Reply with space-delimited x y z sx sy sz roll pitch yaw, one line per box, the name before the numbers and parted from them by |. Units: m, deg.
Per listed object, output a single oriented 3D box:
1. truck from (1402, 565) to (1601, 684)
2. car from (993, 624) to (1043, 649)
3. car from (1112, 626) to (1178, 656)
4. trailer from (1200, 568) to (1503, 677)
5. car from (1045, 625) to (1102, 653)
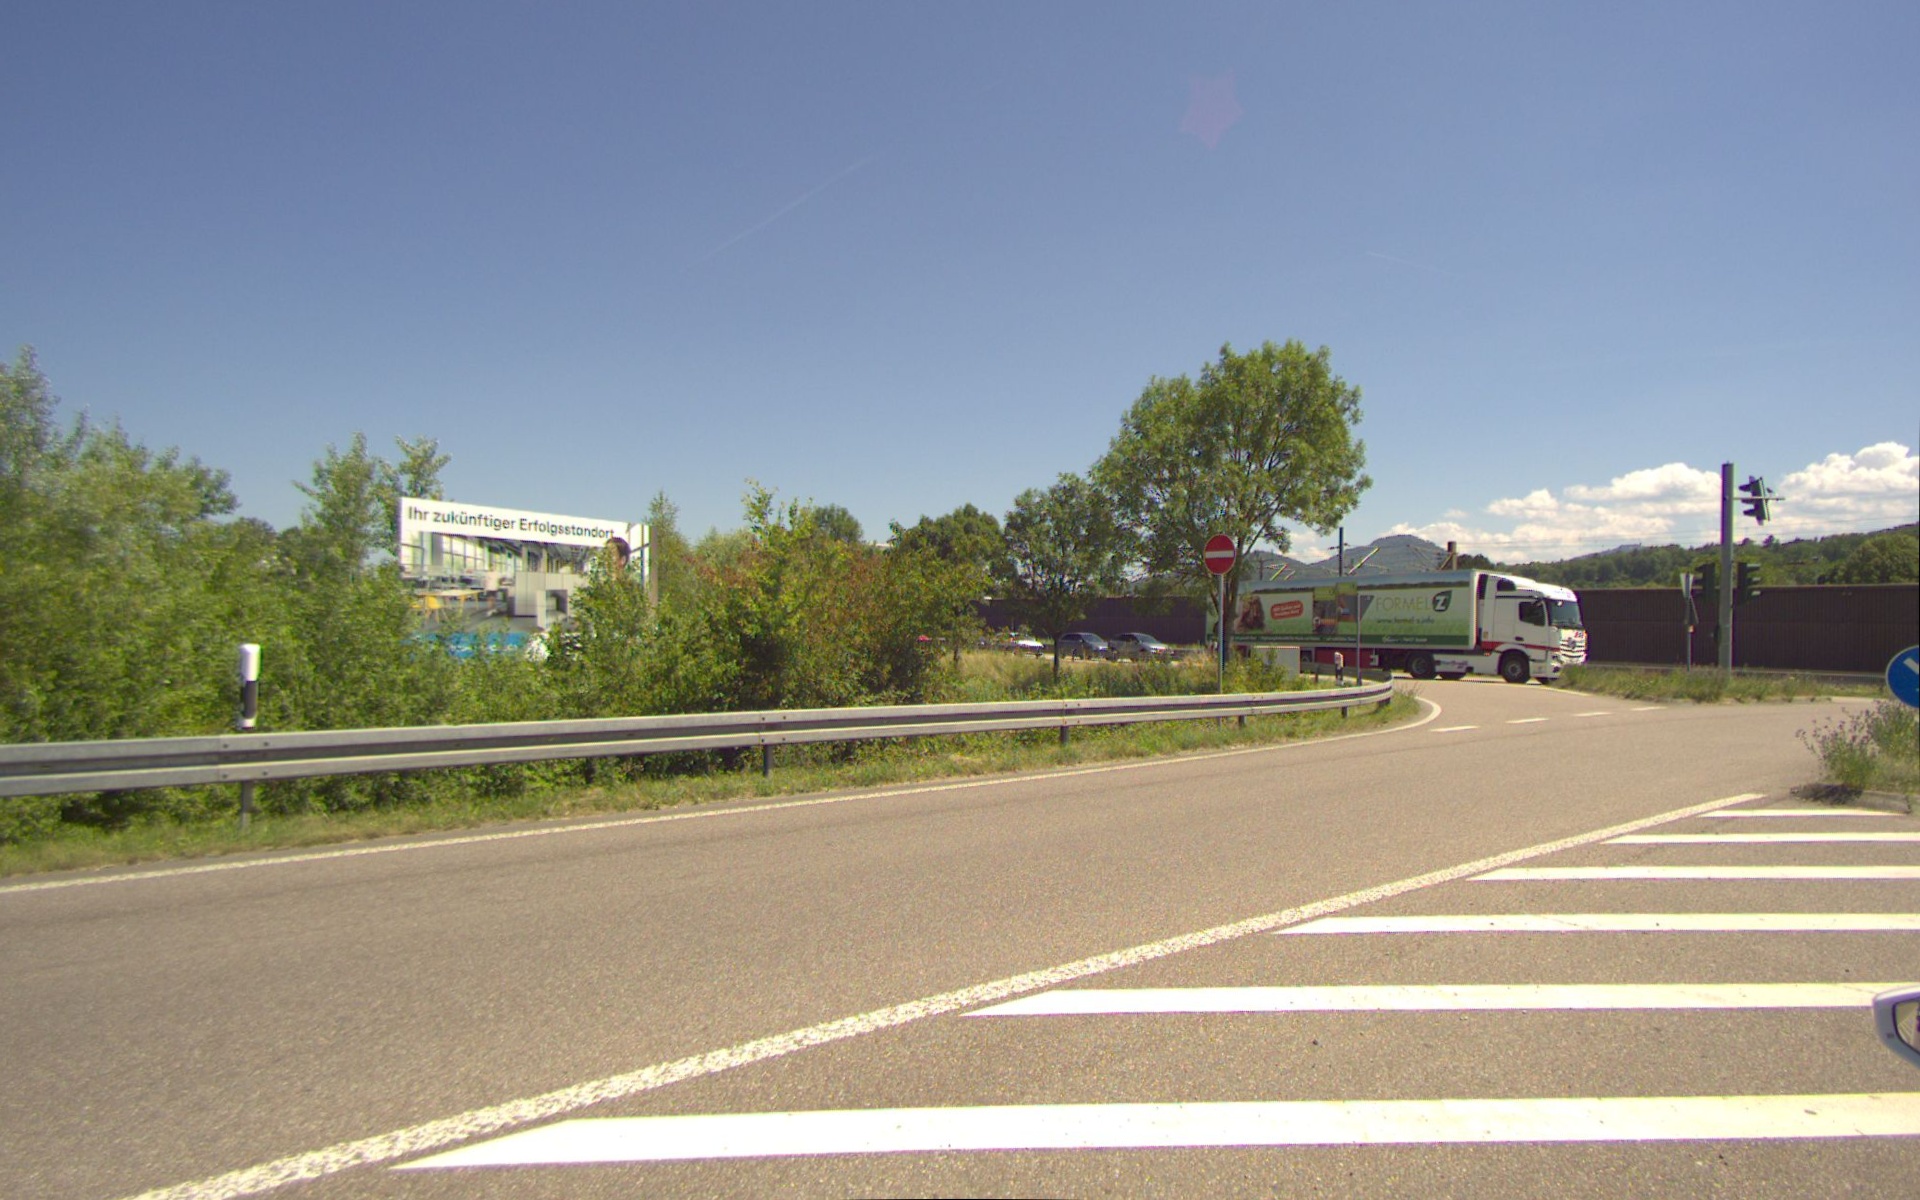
truck | 19.880 0.883 37.155 3.028 4.007 5.735 2 -1 -31
car | 3.763 2.359 65.462 1.537 1.484 3.455 2 -1 -31
car | 9.876 2.194 53.816 1.537 1.484 3.455 2 -1 -31
trailer | 16.170 0.887 43.379 3.027 4.007 13.073 2 -1 -31
car | 6.665 2.287 59.061 1.537 1.484 3.455 2 -1 -31
